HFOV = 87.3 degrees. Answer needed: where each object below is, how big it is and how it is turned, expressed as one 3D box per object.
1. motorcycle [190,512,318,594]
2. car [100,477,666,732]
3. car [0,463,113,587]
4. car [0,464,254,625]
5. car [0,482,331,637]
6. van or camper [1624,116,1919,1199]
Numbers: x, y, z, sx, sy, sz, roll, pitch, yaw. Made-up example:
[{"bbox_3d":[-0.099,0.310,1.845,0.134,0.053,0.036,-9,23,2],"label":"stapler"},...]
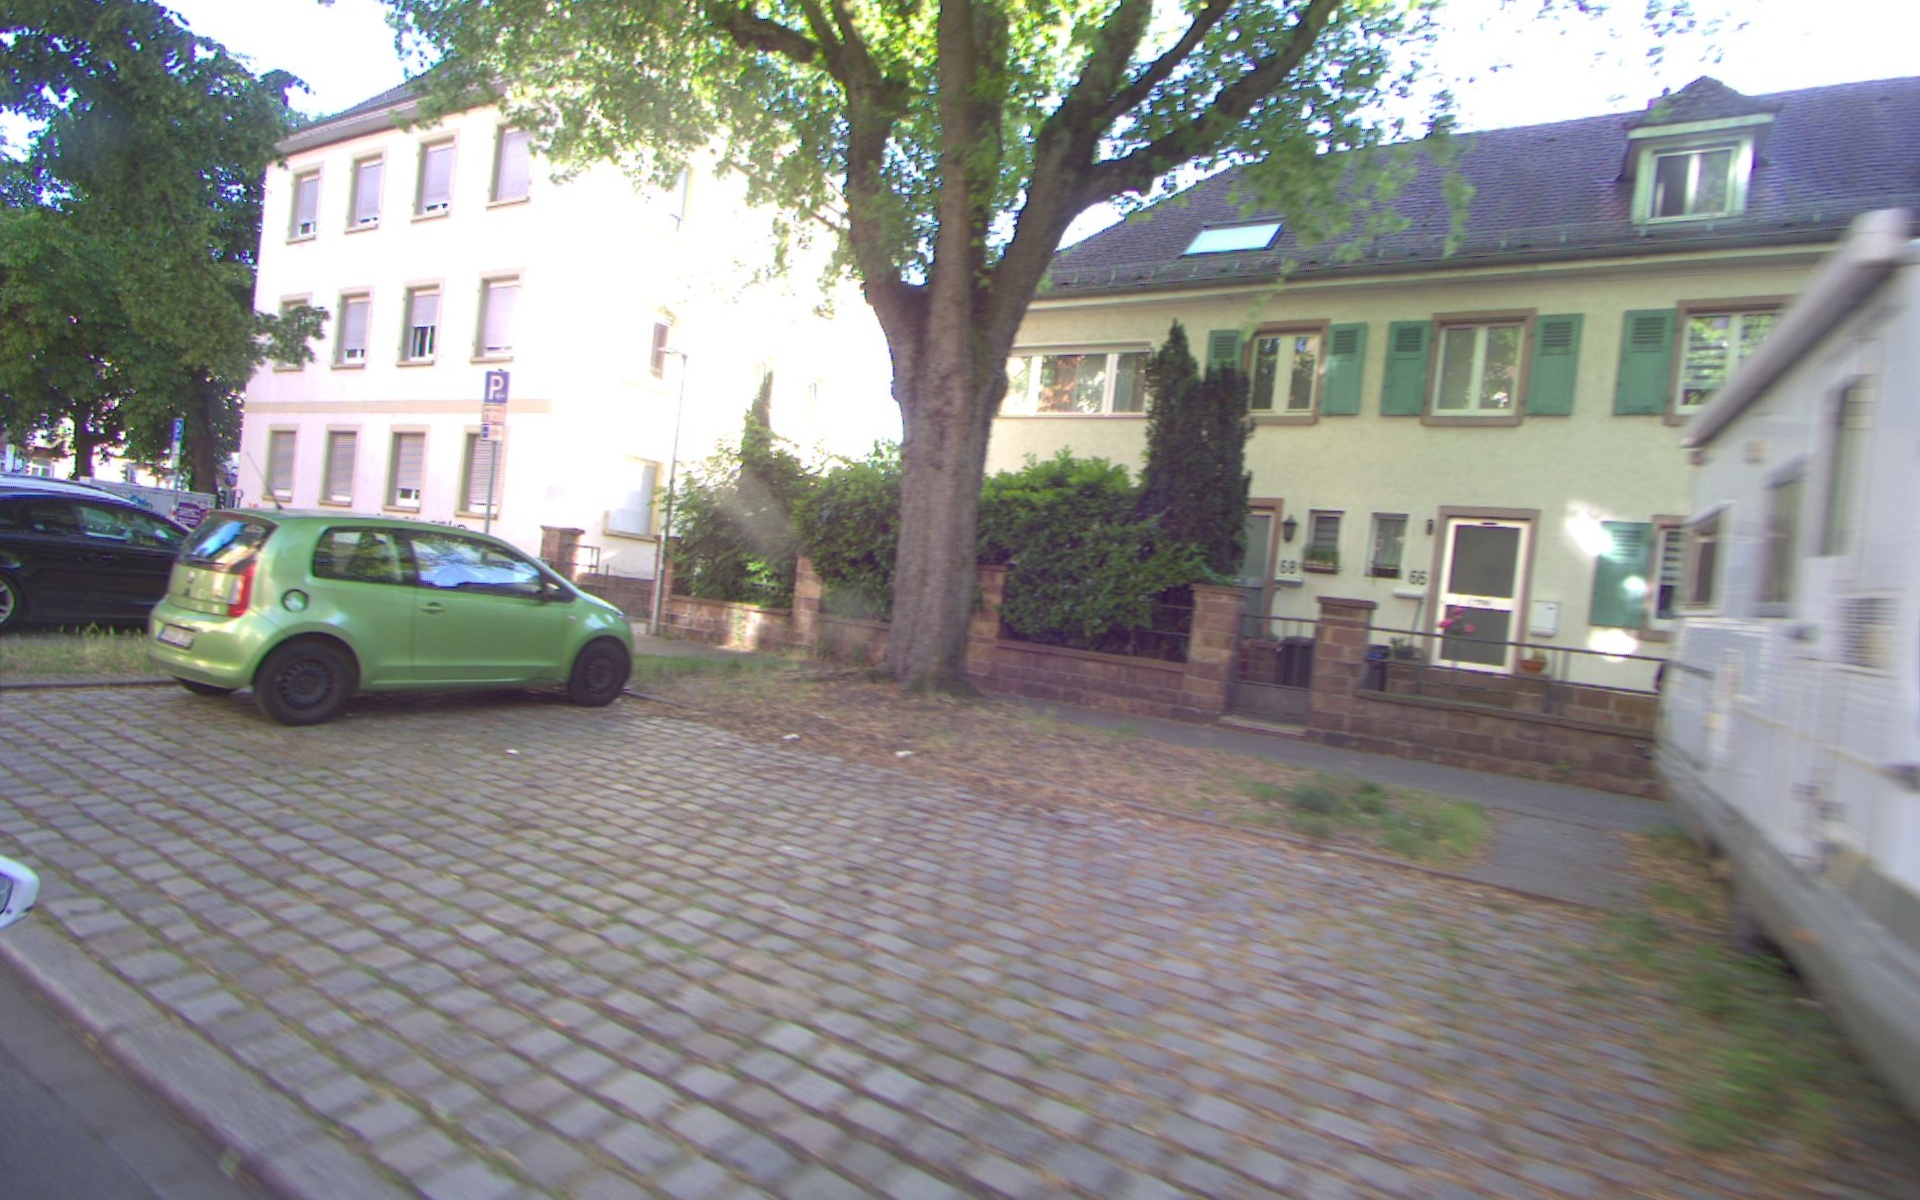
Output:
[{"bbox_3d":[-13.591,-0.901,19.365,2.143,1.296,0.977,7,1,23],"label":"motorcycle"},{"bbox_3d":[-4.418,0.052,8.218,1.650,1.525,3.590,7,2,32],"label":"car"},{"bbox_3d":[-15.133,-1.259,14.371,1.989,1.735,4.112,7,1,27],"label":"car"},{"bbox_3d":[-11.070,-0.713,12.169,1.677,1.671,3.694,7,0,35],"label":"car"},{"bbox_3d":[-9.177,-0.431,10.446,1.763,1.431,4.104,7,2,32],"label":"car"},{"bbox_3d":[4.131,0.364,3.254,2.422,3.115,7.088,7,0,29],"label":"van or camper"}]
